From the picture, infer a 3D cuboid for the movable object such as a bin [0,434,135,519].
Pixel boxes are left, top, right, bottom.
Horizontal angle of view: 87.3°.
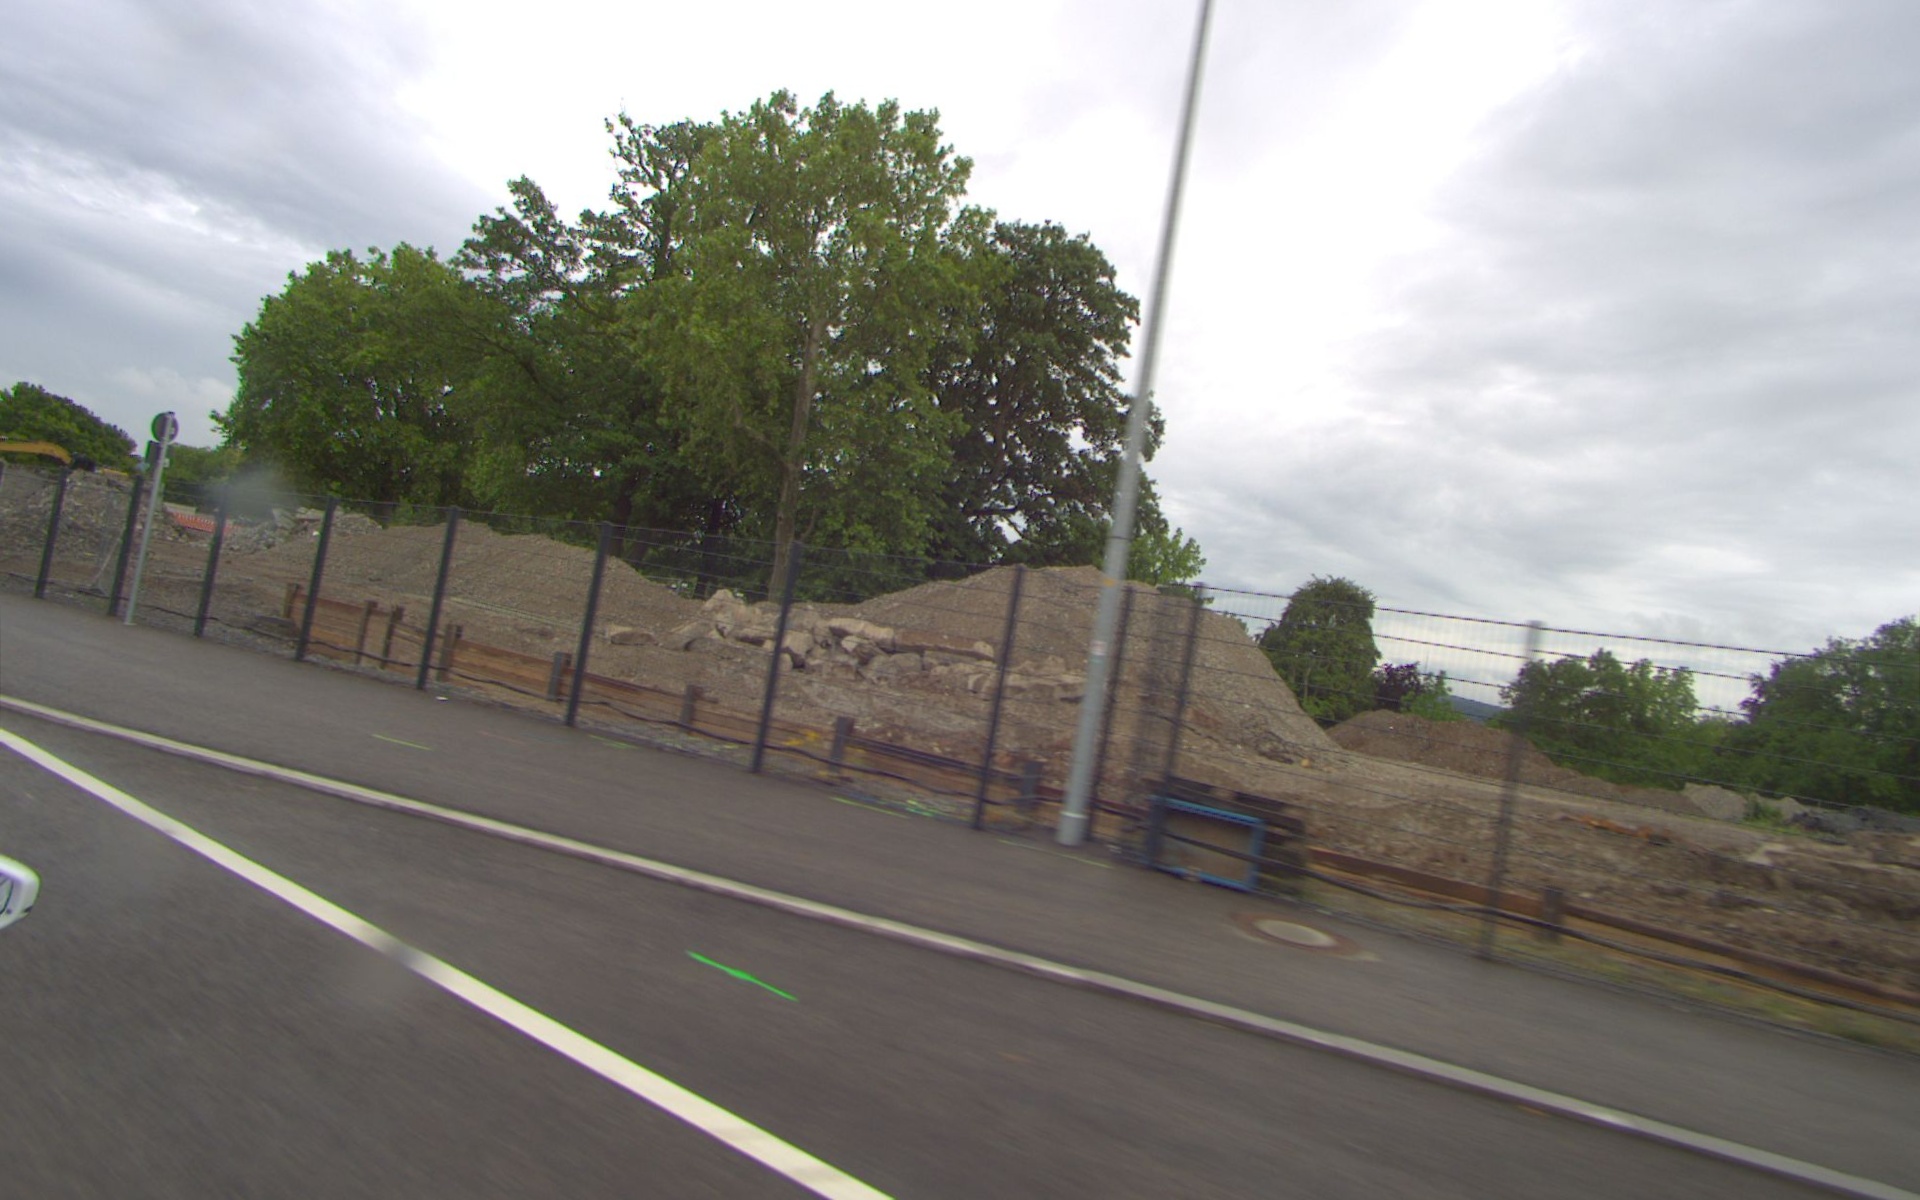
[{"bbox_3d":[-87.665,-11.924,97.211,3.437,6.063,11.243,7,-2,36],"label":"movable object such as a bin"}]
